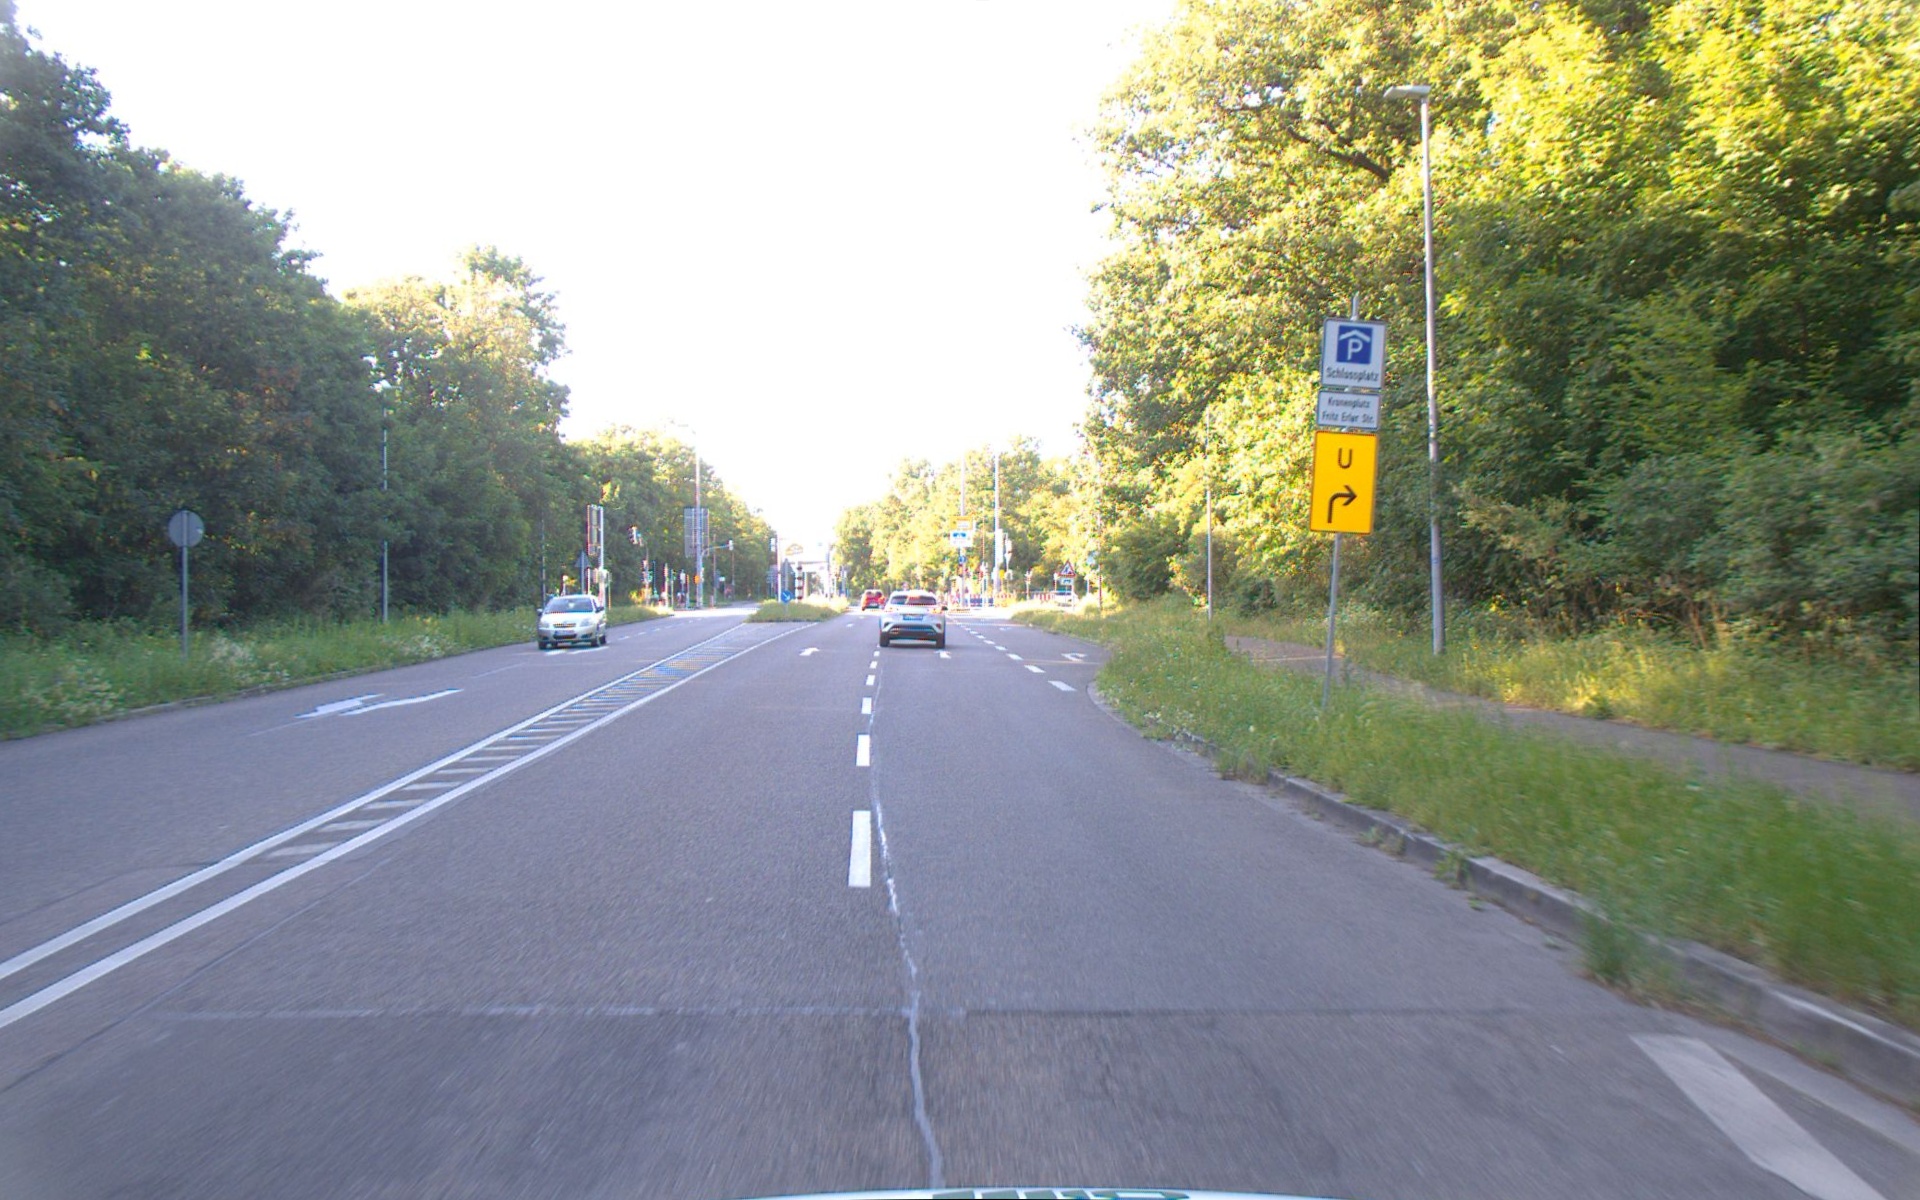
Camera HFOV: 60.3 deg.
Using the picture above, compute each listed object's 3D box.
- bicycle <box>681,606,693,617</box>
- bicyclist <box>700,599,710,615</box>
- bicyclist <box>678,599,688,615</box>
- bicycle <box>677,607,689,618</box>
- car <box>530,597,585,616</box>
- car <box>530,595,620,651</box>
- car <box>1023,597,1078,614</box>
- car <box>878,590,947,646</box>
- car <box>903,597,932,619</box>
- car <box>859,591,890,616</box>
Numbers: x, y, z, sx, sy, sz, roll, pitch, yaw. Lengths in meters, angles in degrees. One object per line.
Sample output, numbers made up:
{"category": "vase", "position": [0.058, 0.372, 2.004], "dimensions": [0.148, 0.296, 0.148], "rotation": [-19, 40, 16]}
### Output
{"category": "bicycle", "position": [-23.984, 1.036, 145.440], "dimensions": [0.700, 0.930, 1.911], "rotation": [0, 0, 1]}
{"category": "bicyclist", "position": [-22.127, 0.629, 143.416], "dimensions": [0.700, 1.362, 0.990], "rotation": [0, 0, 1]}
{"category": "bicyclist", "position": [-23.973, 0.600, 143.346], "dimensions": [0.700, 1.379, 0.990], "rotation": [0, 0, 1]}
{"category": "bicycle", "position": [-23.973, 1.042, 143.347], "dimensions": [0.700, 0.930, 1.911], "rotation": [0, 0, 1]}
{"category": "car", "position": [-30.669, 0.474, 125.930], "dimensions": [3.744, 1.413, 1.911], "rotation": [0, 0, -28]}
{"category": "car", "position": [-11.163, 0.637, 48.196], "dimensions": [1.792, 1.480, 4.477], "rotation": [-3, 0, -4]}
{"category": "car", "position": [8.433, 0.490, 154.132], "dimensions": [4.754, 1.608, 1.985], "rotation": [0, 0, -24]}
{"category": "car", "position": [-1.348, 0.491, 45.925], "dimensions": [1.826, 1.469, 3.998], "rotation": [1, 0, -2]}
{"category": "car", "position": [-2.838, 0.509, 109.569], "dimensions": [1.901, 1.439, 3.999], "rotation": [0, 0, -2]}
{"category": "car", "position": [-6.067, 0.271, 116.918], "dimensions": [1.955, 1.714, 3.994], "rotation": [0, 0, -6]}
